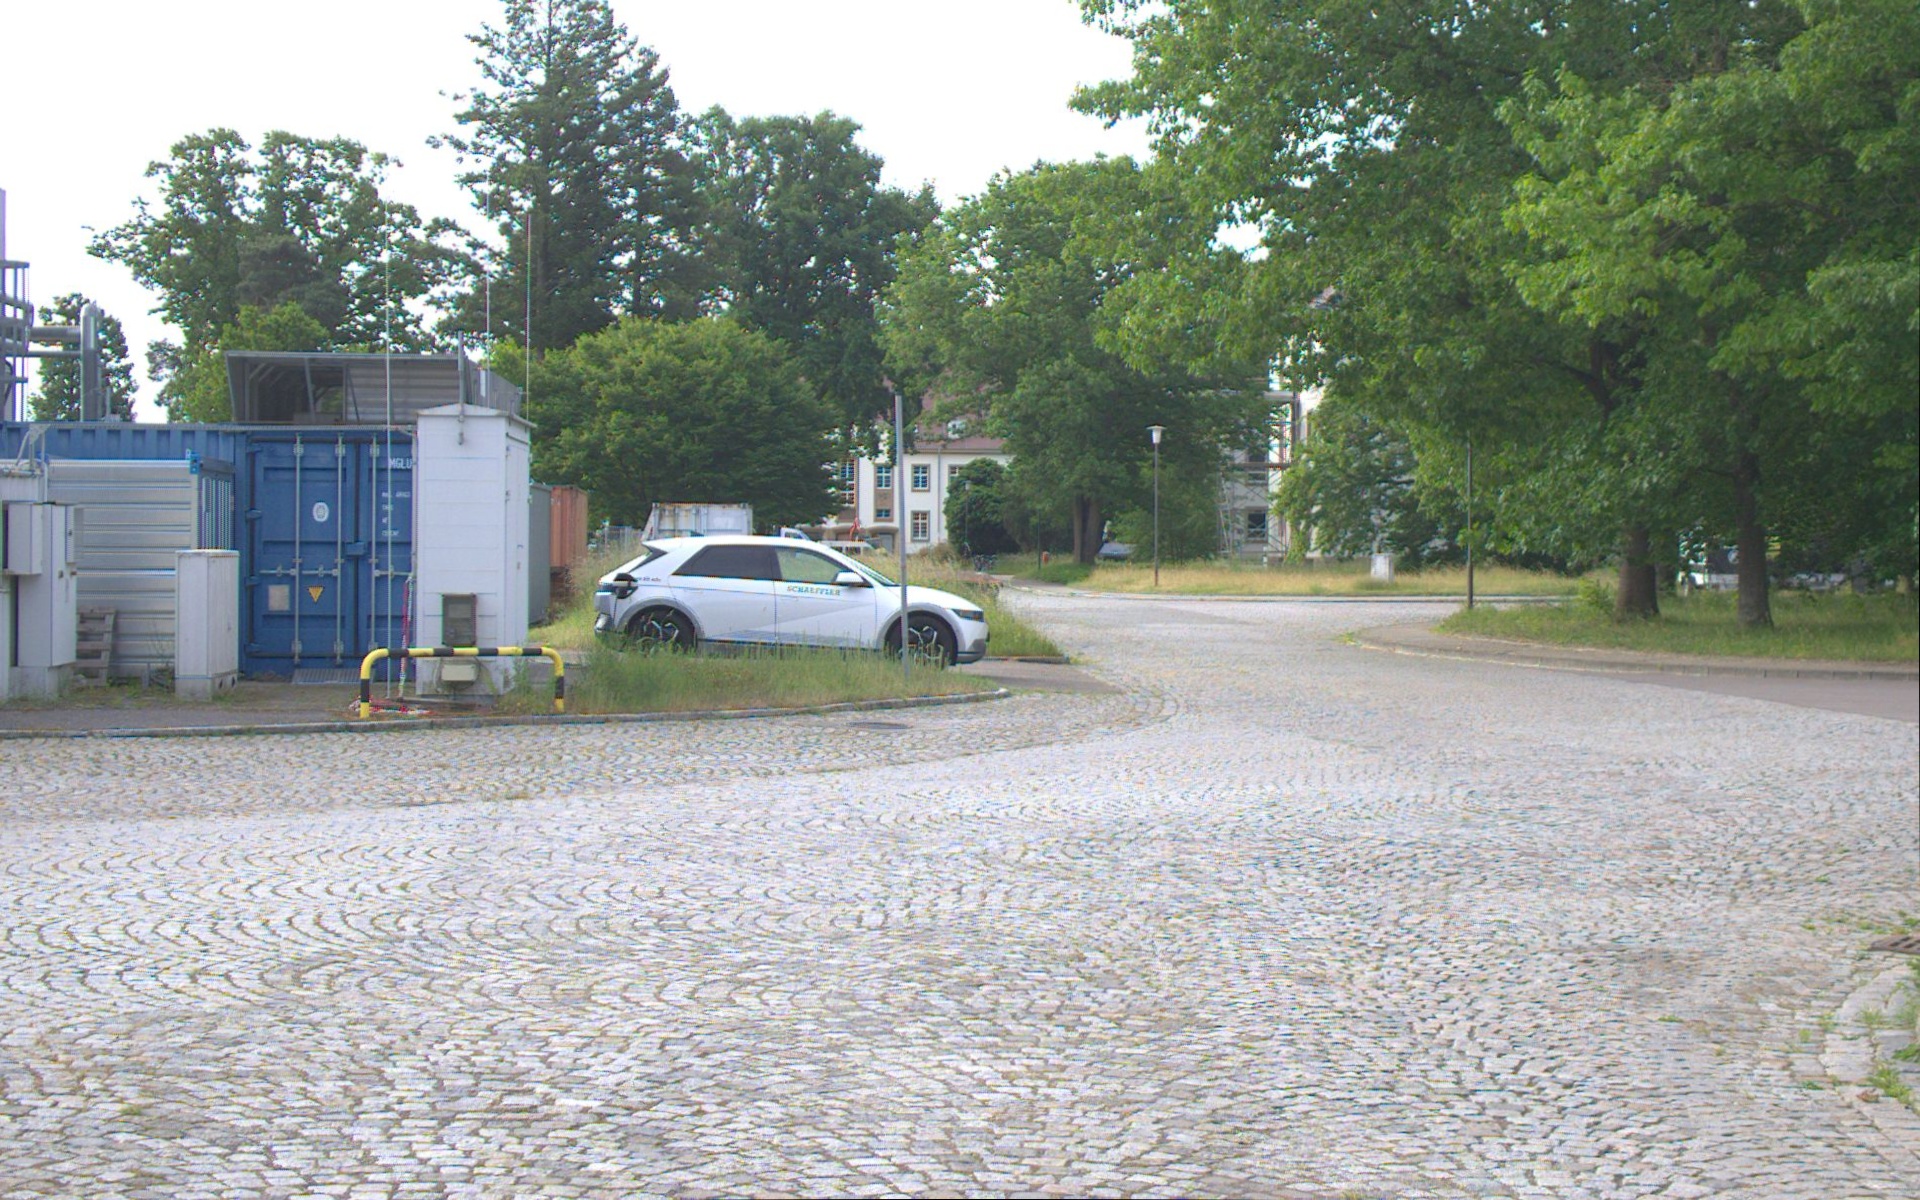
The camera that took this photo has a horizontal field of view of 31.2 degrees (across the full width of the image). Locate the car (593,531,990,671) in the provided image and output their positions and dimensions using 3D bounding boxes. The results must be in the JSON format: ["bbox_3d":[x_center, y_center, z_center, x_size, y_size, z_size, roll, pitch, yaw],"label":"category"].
[{"bbox_3d":[-1.938,-0.004,40.312,4.534,1.594,2.000,0,1,0],"label":"car"}]

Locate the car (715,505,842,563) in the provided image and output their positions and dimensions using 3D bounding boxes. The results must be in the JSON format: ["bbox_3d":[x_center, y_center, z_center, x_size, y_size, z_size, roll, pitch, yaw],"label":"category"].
[{"bbox_3d":[-7.492,-2.714,141.740,5.170,2.329,2.000,0,1,-3],"label":"car"}]
